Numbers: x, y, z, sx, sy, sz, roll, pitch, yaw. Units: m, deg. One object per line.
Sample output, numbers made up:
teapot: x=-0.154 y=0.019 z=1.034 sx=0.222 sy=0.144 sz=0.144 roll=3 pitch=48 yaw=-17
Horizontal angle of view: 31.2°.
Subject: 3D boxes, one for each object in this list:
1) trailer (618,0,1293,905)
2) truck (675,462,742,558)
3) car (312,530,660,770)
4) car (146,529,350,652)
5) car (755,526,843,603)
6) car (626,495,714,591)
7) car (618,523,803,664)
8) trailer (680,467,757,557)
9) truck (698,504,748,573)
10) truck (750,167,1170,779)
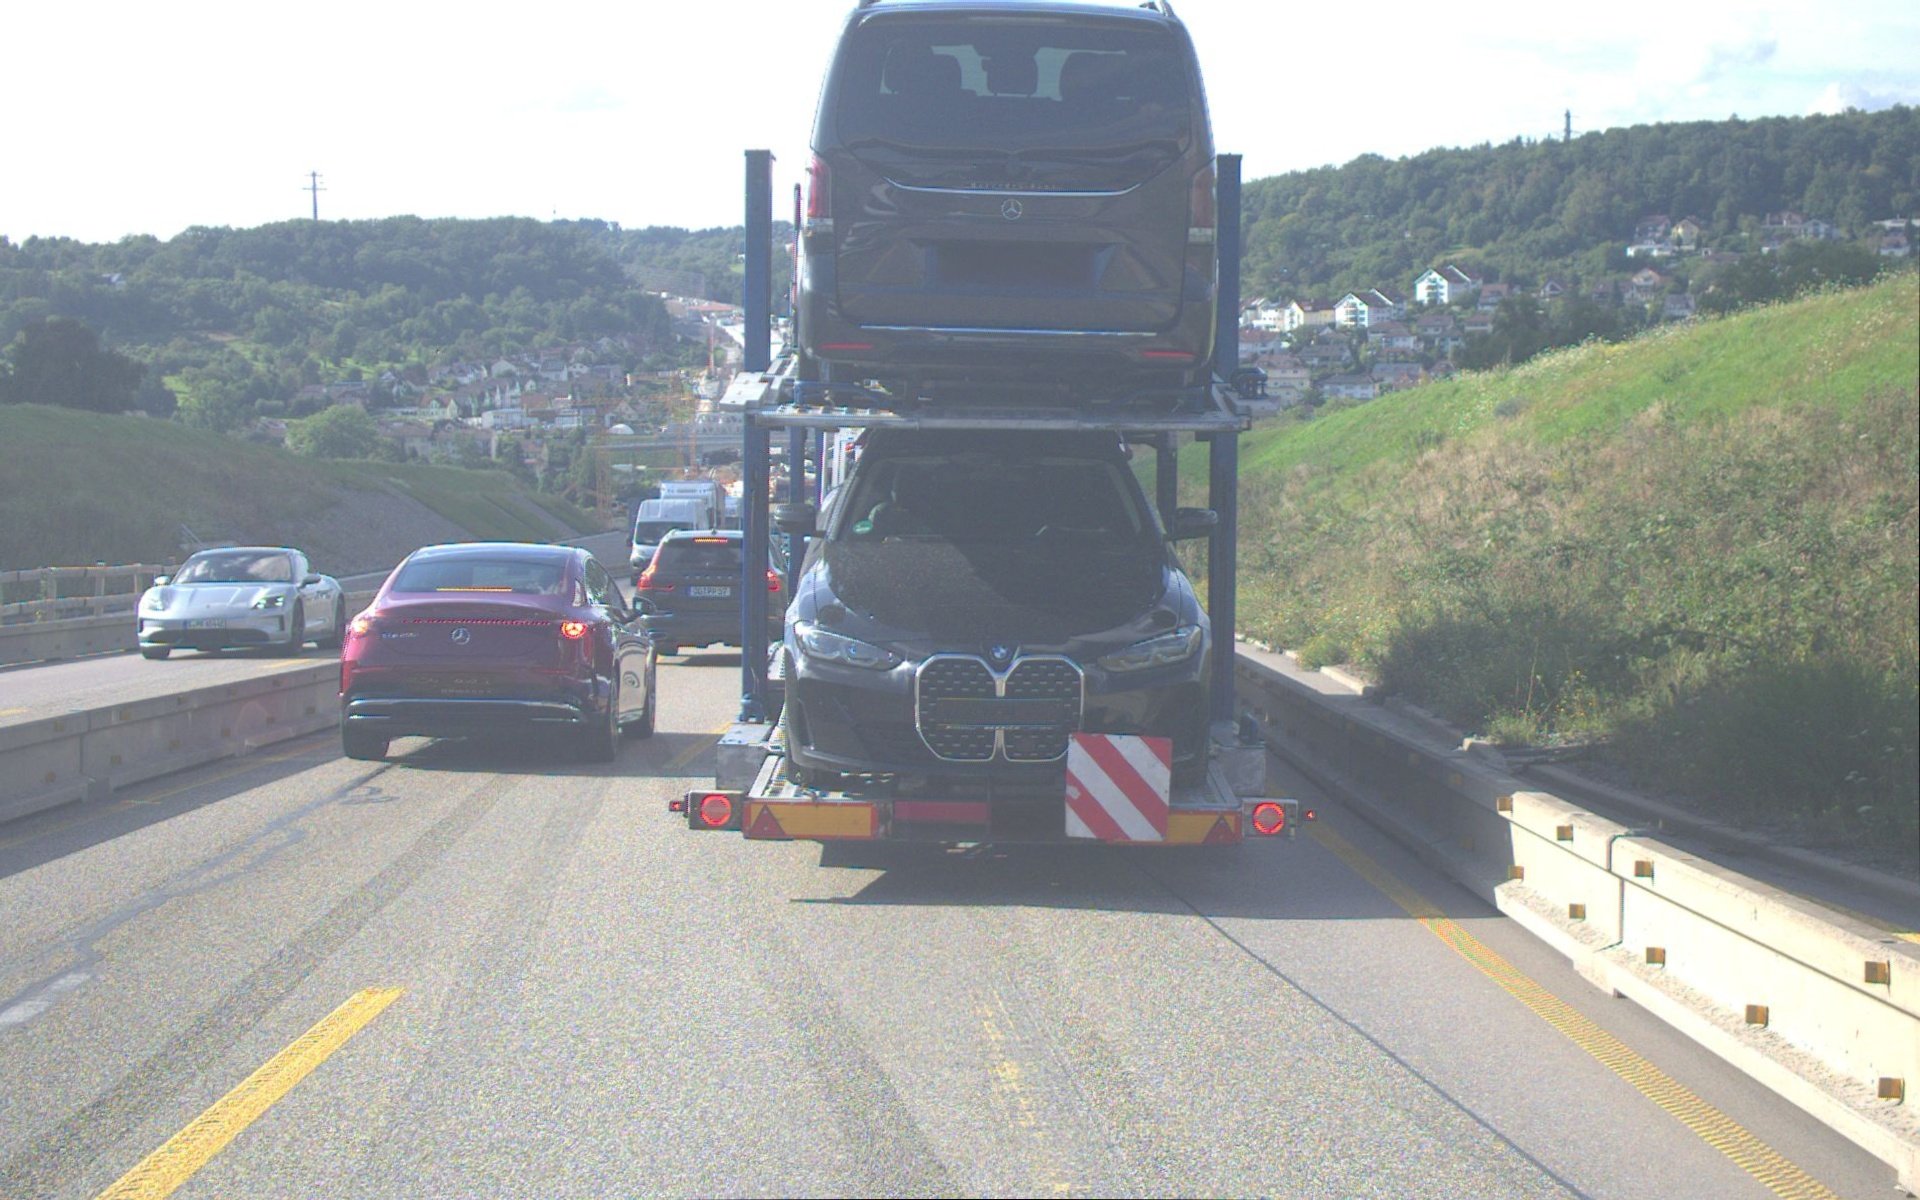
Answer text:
trailer: x=-0.006 y=-0.895 z=19.562 sx=2.708 sy=4.015 sz=11.420 roll=0 pitch=1 yaw=0
truck: x=-11.030 y=-3.930 z=151.105 sx=2.614 sy=4.139 sz=5.782 roll=0 pitch=1 yaw=-1
car: x=-3.260 y=0.275 z=24.476 sx=1.823 sy=1.487 sz=4.685 roll=1 pitch=2 yaw=0
car: x=-9.170 y=-0.147 z=44.594 sx=1.734 sy=1.420 sz=4.628 roll=-3 pitch=1 yaw=-1
car: x=-3.418 y=-0.793 z=73.658 sx=1.796 sy=1.591 sz=4.743 roll=0 pitch=1 yaw=-2
car: x=-9.062 y=-1.782 z=107.887 sx=2.110 sy=2.826 sz=6.139 roll=-3 pitch=1 yaw=0
car: x=-3.043 y=-0.124 z=42.826 sx=1.993 sy=1.619 sz=4.750 roll=1 pitch=1 yaw=-1
trailer: x=-11.045 y=-4.012 z=158.251 sx=2.614 sy=3.940 sz=13.875 roll=0 pitch=1 yaw=0
truck: x=-14.478 y=-3.784 z=210.563 sx=2.638 sy=4.085 sz=10.819 roll=0 pitch=1 yaw=-2
truck: x=0.052 y=-0.870 z=25.060 sx=2.678 sy=3.908 sz=6.027 roll=0 pitch=1 yaw=1
